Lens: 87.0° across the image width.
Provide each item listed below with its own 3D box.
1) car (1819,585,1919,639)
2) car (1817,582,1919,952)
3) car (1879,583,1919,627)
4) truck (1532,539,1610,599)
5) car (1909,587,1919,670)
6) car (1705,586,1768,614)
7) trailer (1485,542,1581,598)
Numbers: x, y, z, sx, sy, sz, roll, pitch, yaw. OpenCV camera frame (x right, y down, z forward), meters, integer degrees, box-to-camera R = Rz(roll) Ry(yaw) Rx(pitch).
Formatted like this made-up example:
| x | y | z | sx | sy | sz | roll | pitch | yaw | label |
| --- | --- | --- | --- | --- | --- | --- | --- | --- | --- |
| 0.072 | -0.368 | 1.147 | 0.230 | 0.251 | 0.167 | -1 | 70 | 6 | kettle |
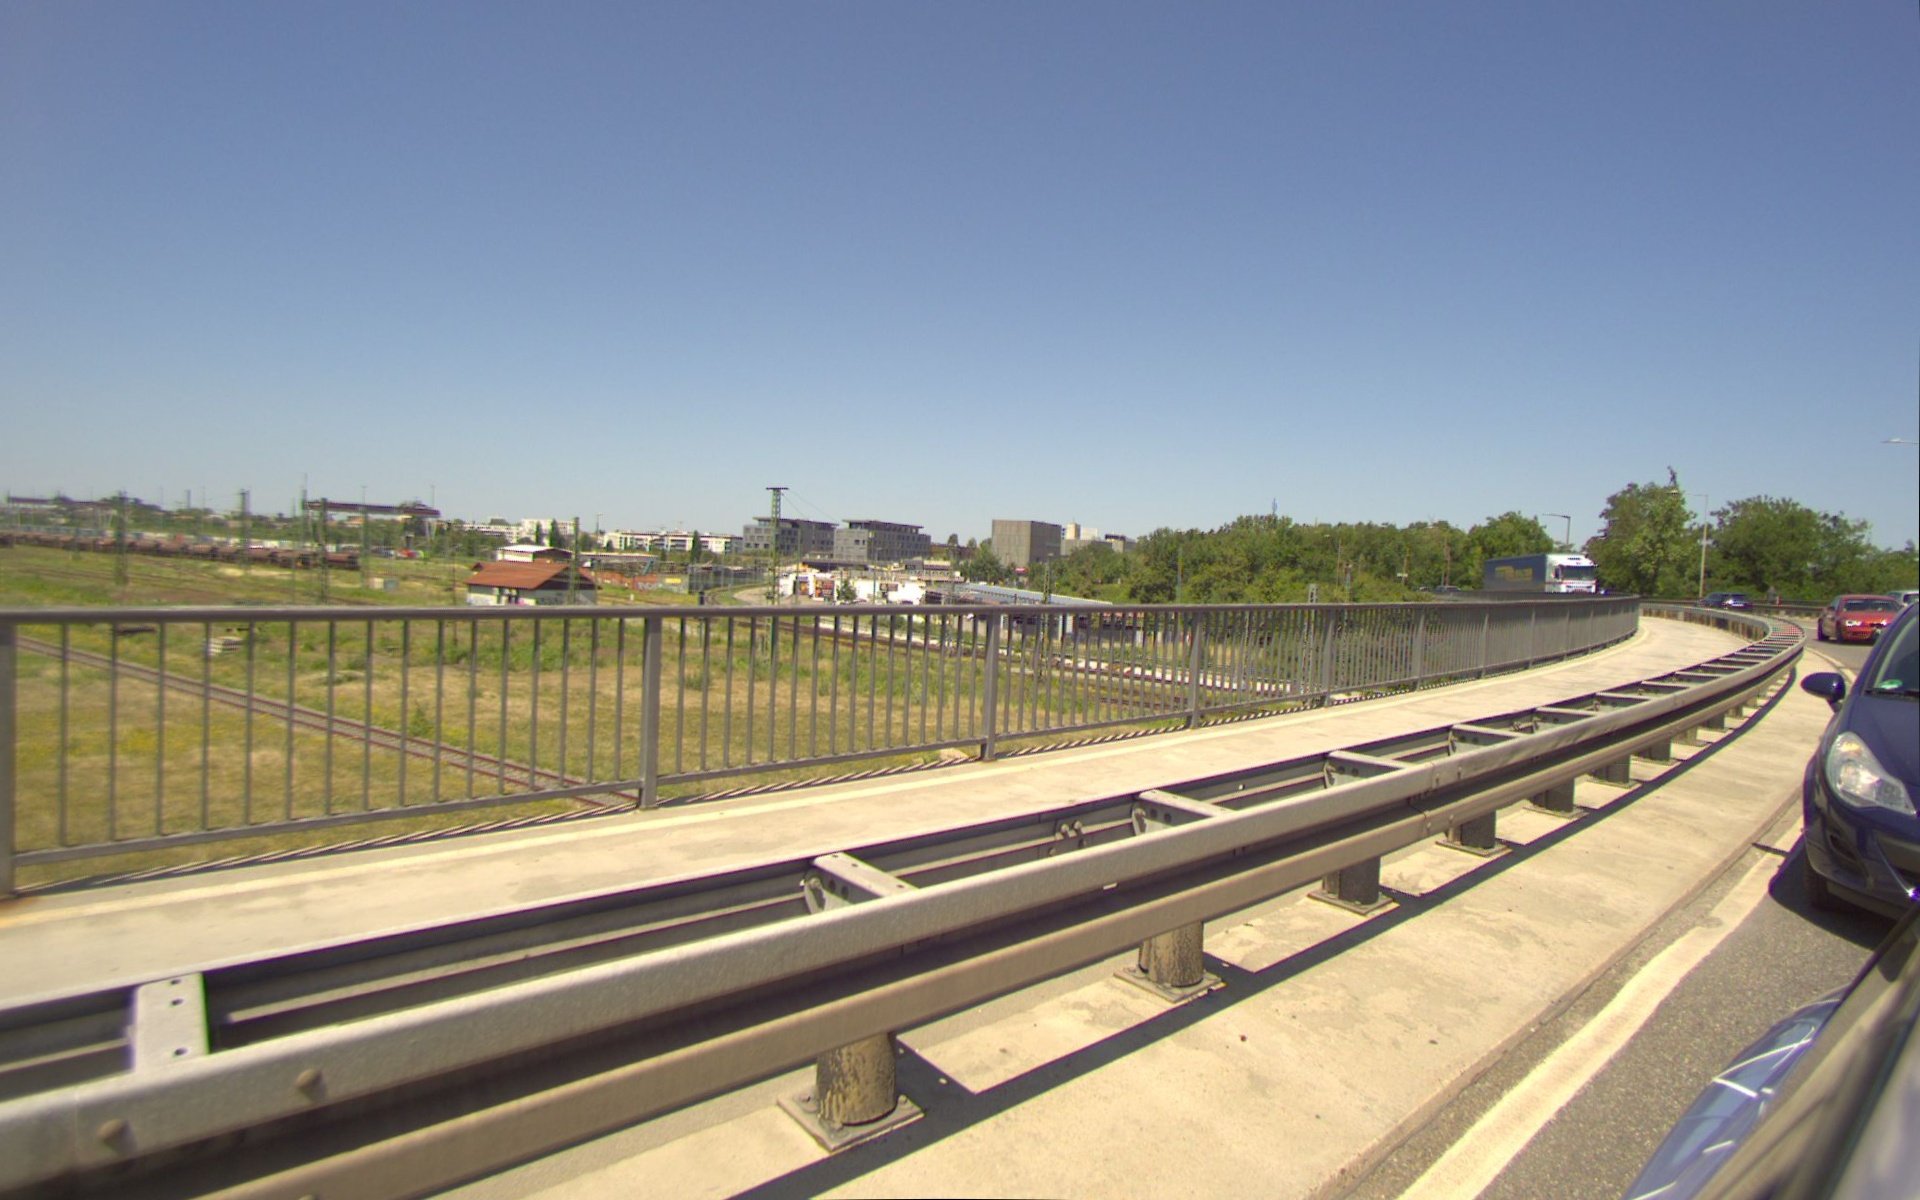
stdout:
| x | y | z | sx | sy | sz | roll | pitch | yaw | label |
| --- | --- | --- | --- | --- | --- | --- | --- | --- | --- |
| 26.741 | 0.293 | 29.554 | 1.781 | 1.473 | 4.473 | 1 | 1 | 31 | car |
| 5.526 | 0.650 | 5.026 | 1.641 | 1.457 | 3.935 | 1 | 1 | 45 | car |
| 36.067 | 0.168 | 37.738 | 1.727 | 1.599 | 4.134 | 1 | 2 | 29 | car |
| 45.896 | -2.282 | 76.225 | 2.653 | 4.281 | 6.822 | -1 | 1 | 9 | truck |
| 19.256 | 0.509 | 19.109 | 1.788 | 1.473 | 4.456 | 1 | 1 | 41 | car |
| 43.720 | -0.015 | 57.078 | 1.758 | 1.456 | 4.357 | 1 | 2 | 24 | car |
| 47.145 | -2.463 | 83.792 | 2.658 | 4.287 | 12.681 | 0 | 1 | 9 | trailer |
